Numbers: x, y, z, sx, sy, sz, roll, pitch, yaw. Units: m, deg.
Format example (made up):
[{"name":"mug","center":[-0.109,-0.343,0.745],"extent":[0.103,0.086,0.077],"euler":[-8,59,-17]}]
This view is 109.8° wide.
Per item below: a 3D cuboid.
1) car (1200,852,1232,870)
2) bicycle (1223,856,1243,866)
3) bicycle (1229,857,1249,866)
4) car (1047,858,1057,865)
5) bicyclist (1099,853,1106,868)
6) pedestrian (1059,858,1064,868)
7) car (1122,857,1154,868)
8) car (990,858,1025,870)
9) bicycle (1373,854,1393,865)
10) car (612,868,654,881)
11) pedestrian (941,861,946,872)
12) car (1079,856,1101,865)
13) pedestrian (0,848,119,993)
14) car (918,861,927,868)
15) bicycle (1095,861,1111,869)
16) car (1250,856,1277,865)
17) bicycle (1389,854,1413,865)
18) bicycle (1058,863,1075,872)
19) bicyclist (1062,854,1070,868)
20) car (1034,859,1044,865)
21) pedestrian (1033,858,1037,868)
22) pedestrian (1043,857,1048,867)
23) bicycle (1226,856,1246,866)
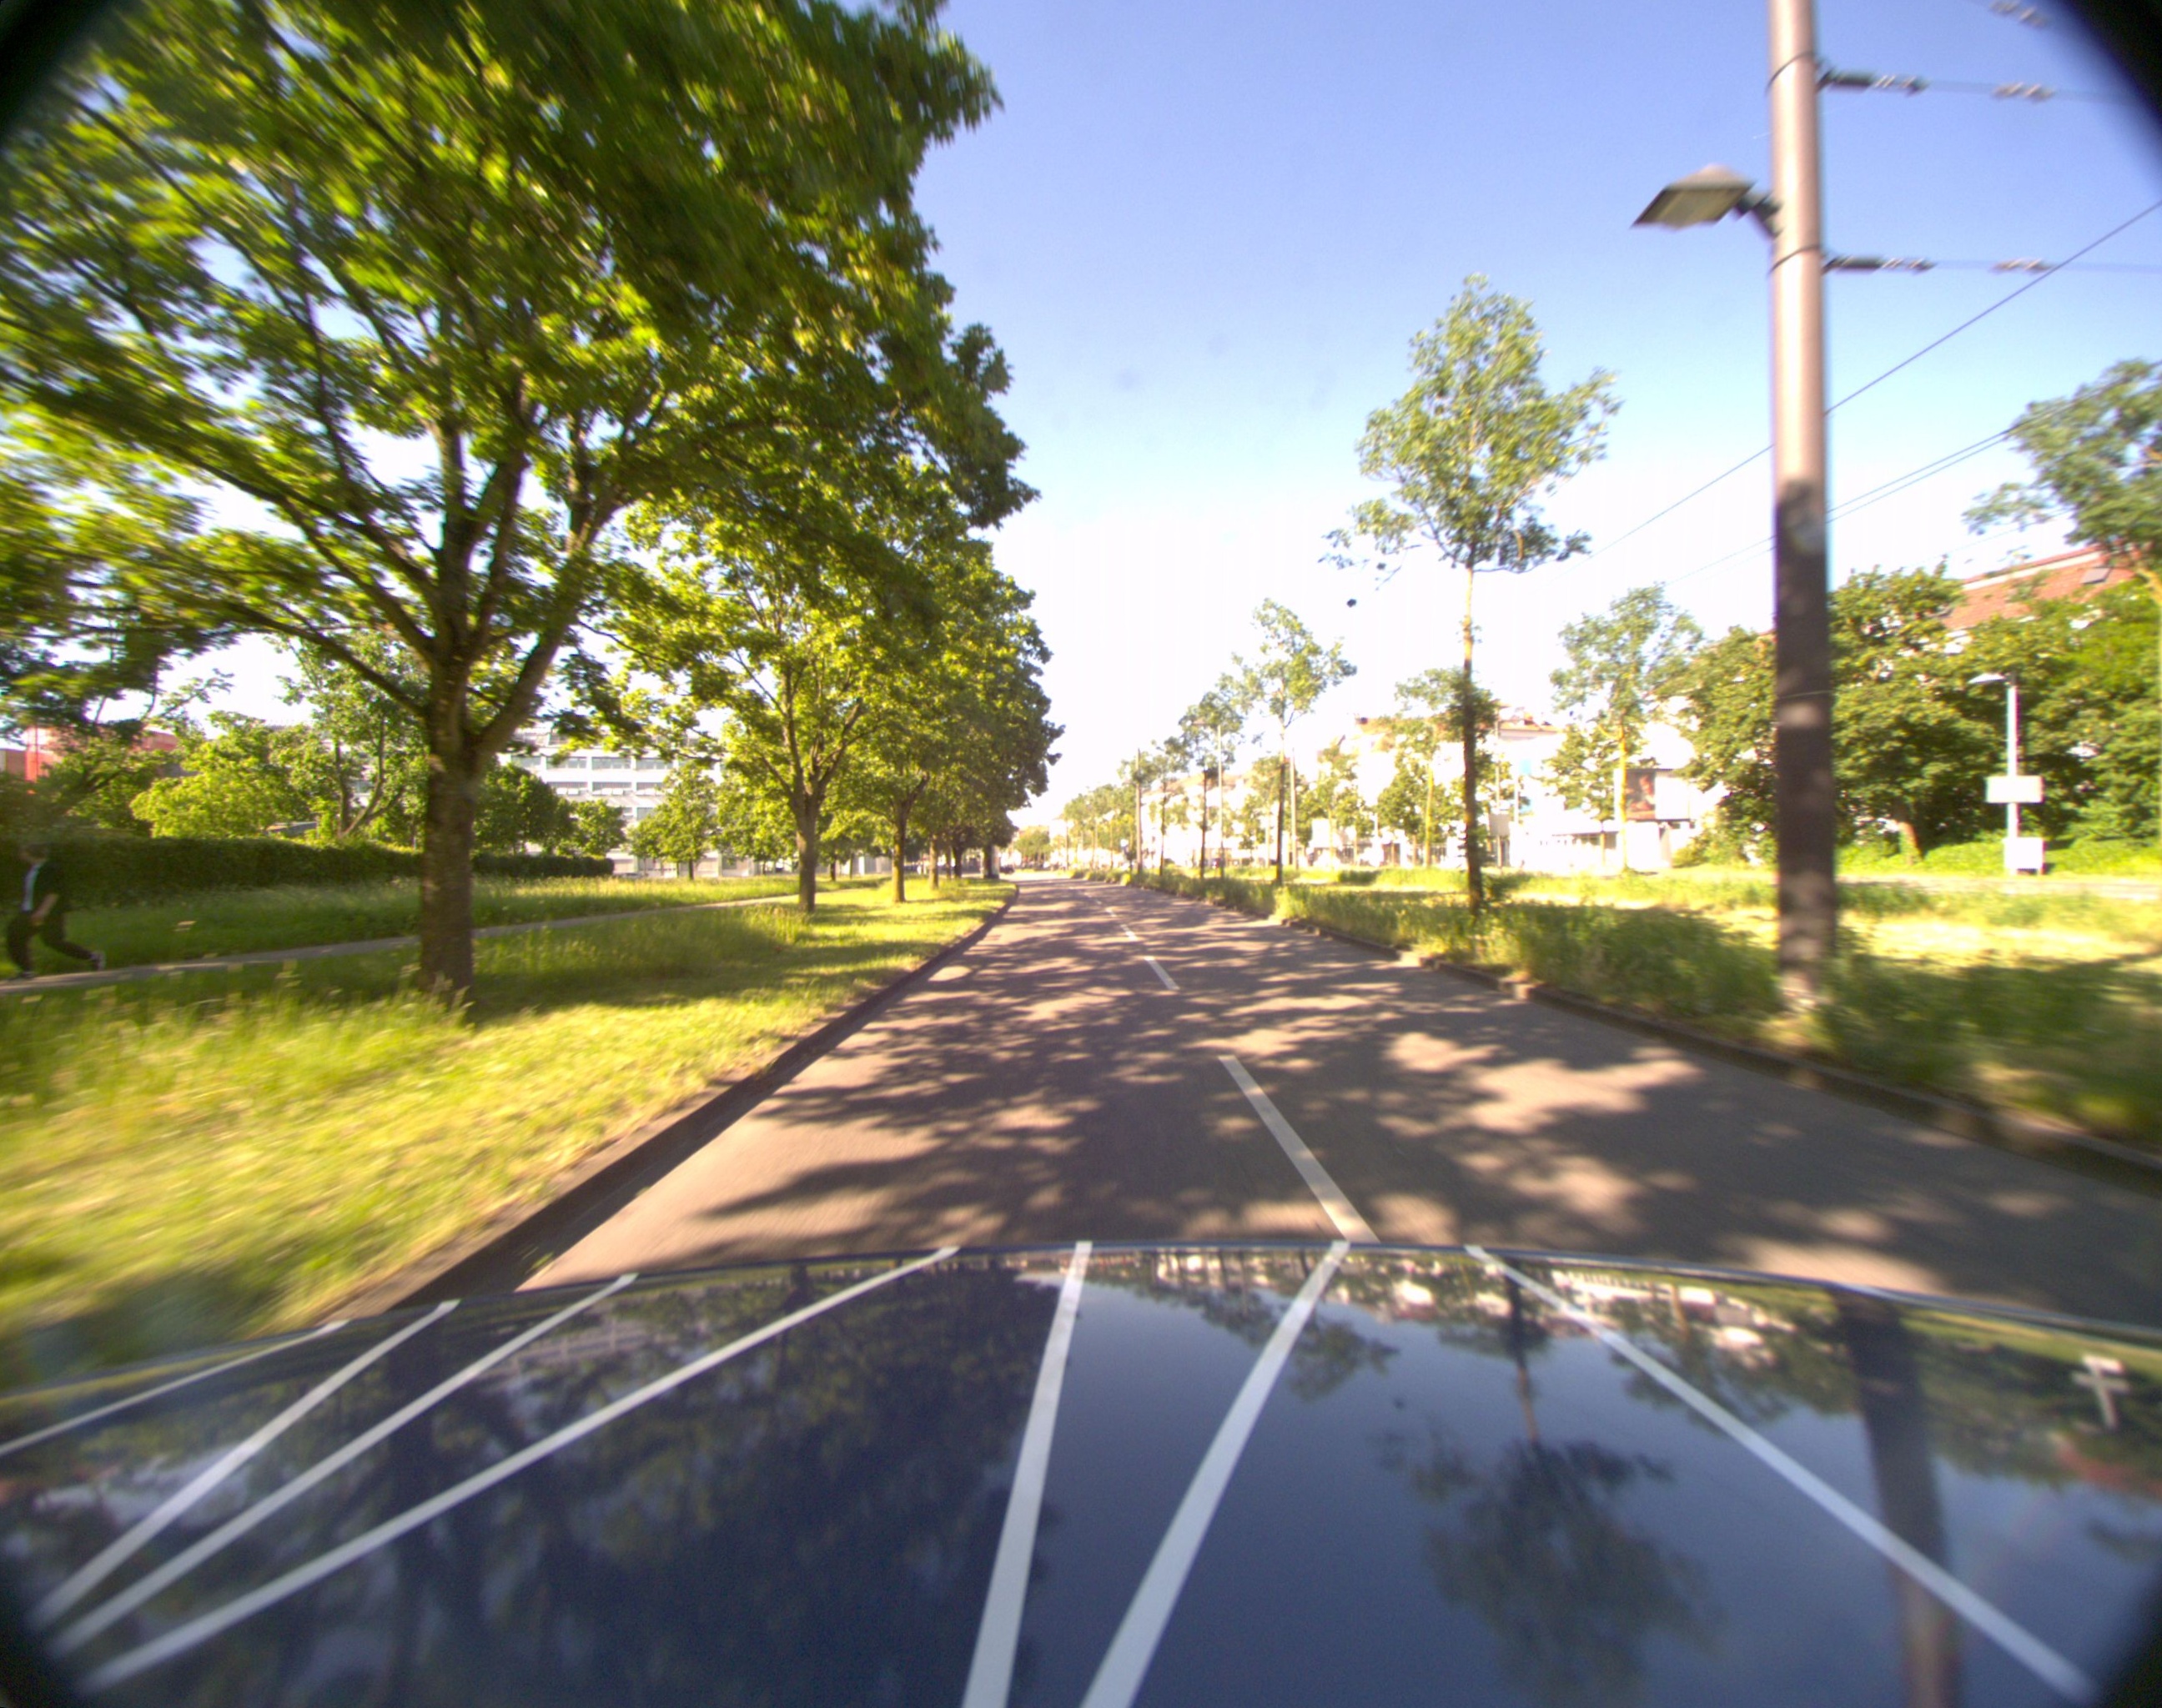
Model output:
[{"name":"car","center":[14.584,0.763,82.292],"extent":[1.825,1.630,4.487],"euler":[-1,-3,-11]},{"name":"bicycle","center":[21.043,0.947,105.129],"extent":[2.581,1.301,0.662],"euler":[-1,0,-13]},{"name":"bicycle","center":[21.398,1.005,103.147],"extent":[2.581,1.152,0.783],"euler":[-1,0,-13]},{"name":"car","center":[-7.498,1.916,196.740],"extent":[1.695,1.700,4.235],"euler":[-1,0,-17]},{"name":"bicyclist","center":[2.603,0.790,90.487],"extent":[0.715,1.681,0.817],"euler":[-1,0,-3]},{"name":"pedestrian","center":[-3.191,1.467,127.129],"extent":[0.723,1.687,0.607],"euler":[-1,0,-11]},{"name":"car","center":[8.463,1.234,113.081],"extent":[4.192,1.457,2.331],"euler":[-1,0,-18]},{"name":"car","center":[-10.281,1.418,106.421],"extent":[4.634,1.613,1.997],"euler":[-1,1,-16]},{"name":"bicycle","center":[34.290,0.600,86.291],"extent":[0.720,1.205,2.550],"euler":[-1,0,-12]},{"name":"car","center":[-57.037,2.589,96.738],"extent":[4.291,1.411,1.916],"euler":[-1,0,-20]},{"name":"pedestrian","center":[-22.212,2.041,122.509],"extent":[0.733,1.687,0.734],"euler":[-1,0,-11]},{"name":"car","center":[1.901,1.379,159.591],"extent":[4.233,1.700,1.696],"euler":[-1,0,14]},{"name":"pedestrian","center":[-13.400,0.833,9.877],"extent":[0.717,1.793,0.794],"euler":[-1,0,-1]},{"name":"car","center":[-39.599,2.584,189.895],"extent":[1.695,1.700,4.235],"euler":[-1,0,-17]},{"name":"bicycle","center":[2.615,1.329,90.489],"extent":[1.828,0.958,0.817],"euler":[-1,0,-3]},{"name":"car","center":[30.131,1.074,125.448],"extent":[4.092,1.302,1.700],"euler":[-1,0,-18]},{"name":"bicycle","center":[35.690,0.577,84.740],"extent":[2.553,1.205,0.719],"euler":[-1,0,-11]},{"name":"bicycle","center":[-1.696,1.558,86.727],"extent":[1.829,0.958,0.855],"euler":[-1,0,-10]},{"name":"bicyclist","center":[-1.707,0.786,86.726],"extent":[0.715,1.591,0.849],"euler":[-1,0,-10]},{"name":"car","center":[-11.776,2.328,211.559],"extent":[1.835,1.700,4.235],"euler":[-1,0,-17]},{"name":"pedestrian","center":[-7.746,1.586,127.935],"extent":[0.641,1.687,0.607],"euler":[-1,0,-15]},{"name":"pedestrian","center":[-6.098,1.450,130.886],"extent":[0.733,1.687,0.734],"euler":[-1,0,-11]},{"name":"bicycle","center":[21.262,0.947,104.097],"extent":[2.581,1.301,0.662],"euler":[-1,0,-13]}]
